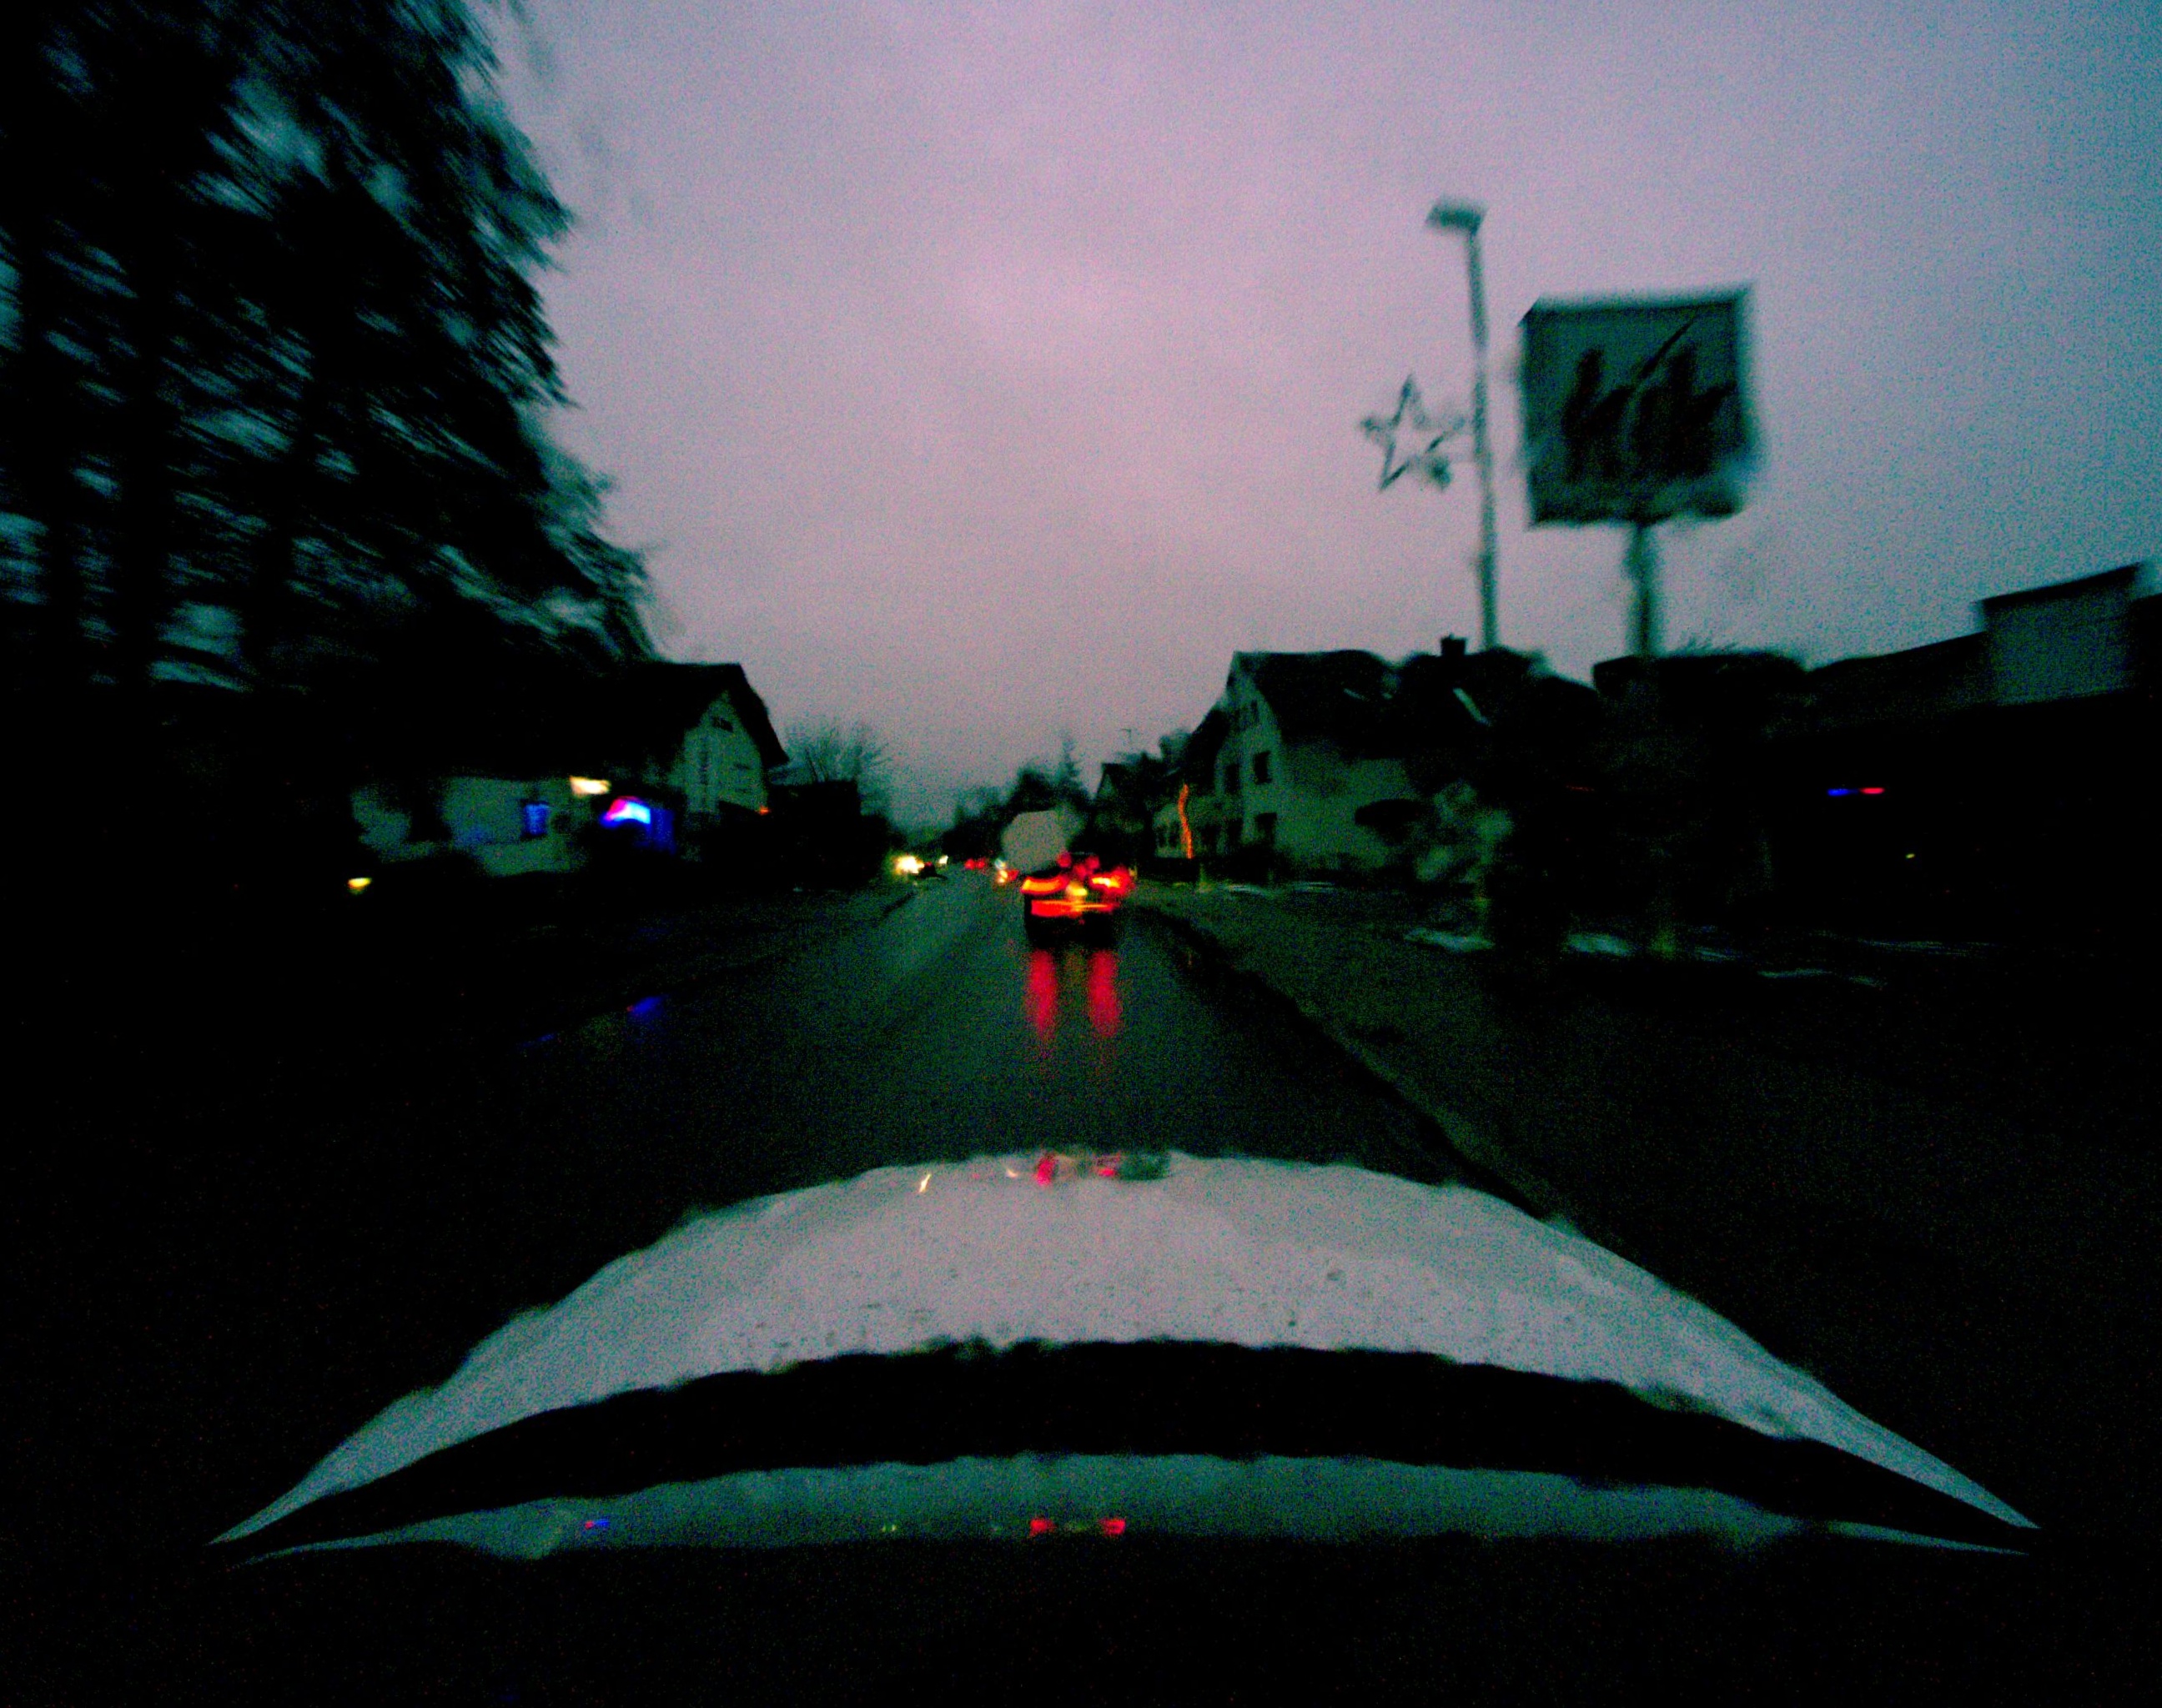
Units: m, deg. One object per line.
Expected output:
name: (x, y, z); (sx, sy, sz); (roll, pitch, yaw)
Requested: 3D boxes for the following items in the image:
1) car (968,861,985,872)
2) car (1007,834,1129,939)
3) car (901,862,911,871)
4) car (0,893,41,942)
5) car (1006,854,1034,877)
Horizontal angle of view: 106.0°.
car: (-12.952, 1.528, 100.620); (1.842, 1.331, 3.925); (-2, 0, -9)
car: (-0.244, 0.654, 18.261); (2.302, 1.938, 5.017); (-2, -1, 0)
car: (-33.088, 2.420, 153.907); (1.826, 1.554, 3.980); (-3, 0, -14)
car: (-31.278, 1.802, 22.248); (1.430, 1.333, 3.369); (1, 0, -4)
car: (-5.628, 1.049, 74.987); (2.307, 1.938, 5.005); (-2, -1, -7)
